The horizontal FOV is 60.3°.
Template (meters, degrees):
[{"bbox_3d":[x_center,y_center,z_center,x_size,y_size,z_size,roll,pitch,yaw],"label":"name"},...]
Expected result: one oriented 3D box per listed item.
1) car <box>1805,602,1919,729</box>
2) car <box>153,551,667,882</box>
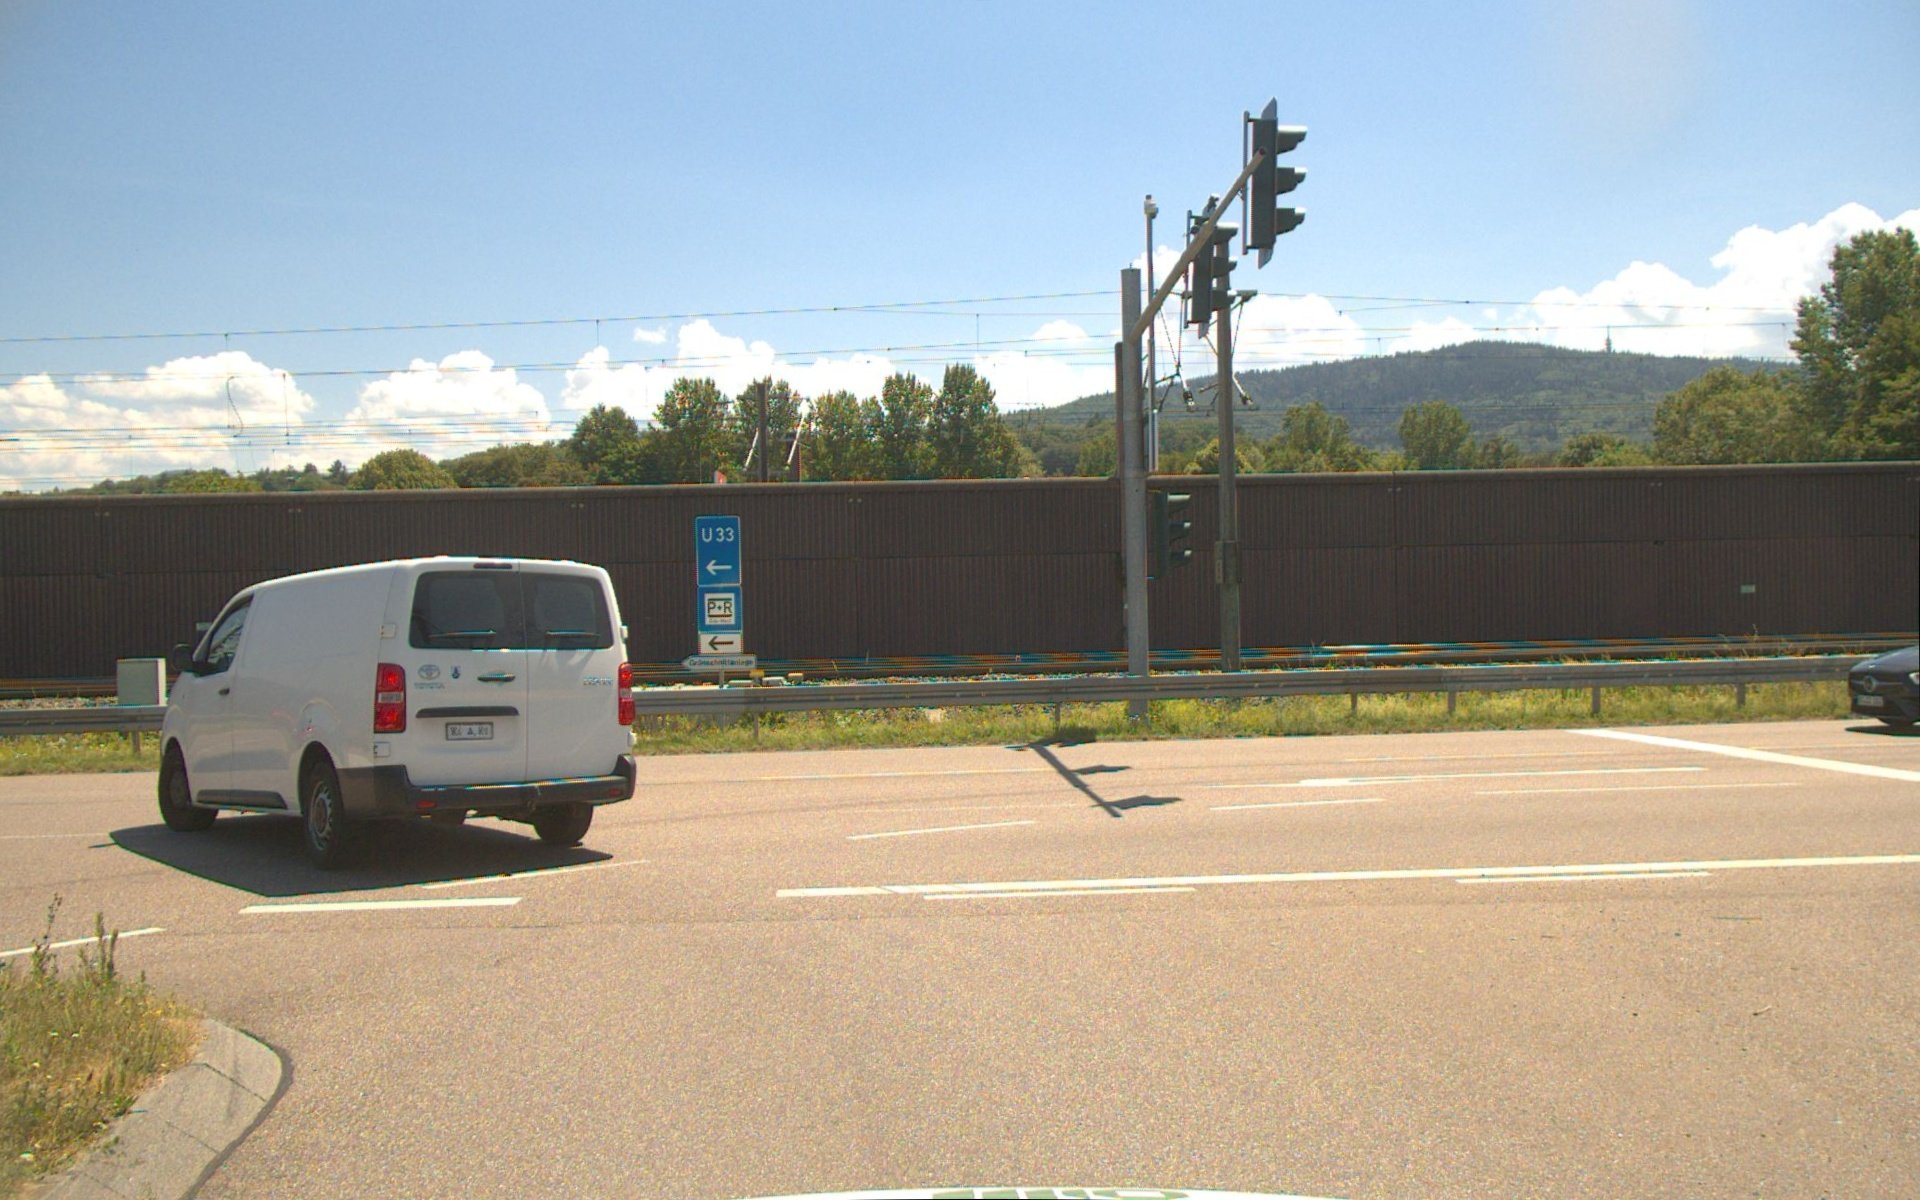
[{"bbox_3d":[12.550,0.693,19.169,4.539,1.388,1.912,-1,-1,-2],"label":"car"},{"bbox_3d":[-4.201,0.765,12.059,1.934,1.915,4.809,1,-3,-40],"label":"car"}]
